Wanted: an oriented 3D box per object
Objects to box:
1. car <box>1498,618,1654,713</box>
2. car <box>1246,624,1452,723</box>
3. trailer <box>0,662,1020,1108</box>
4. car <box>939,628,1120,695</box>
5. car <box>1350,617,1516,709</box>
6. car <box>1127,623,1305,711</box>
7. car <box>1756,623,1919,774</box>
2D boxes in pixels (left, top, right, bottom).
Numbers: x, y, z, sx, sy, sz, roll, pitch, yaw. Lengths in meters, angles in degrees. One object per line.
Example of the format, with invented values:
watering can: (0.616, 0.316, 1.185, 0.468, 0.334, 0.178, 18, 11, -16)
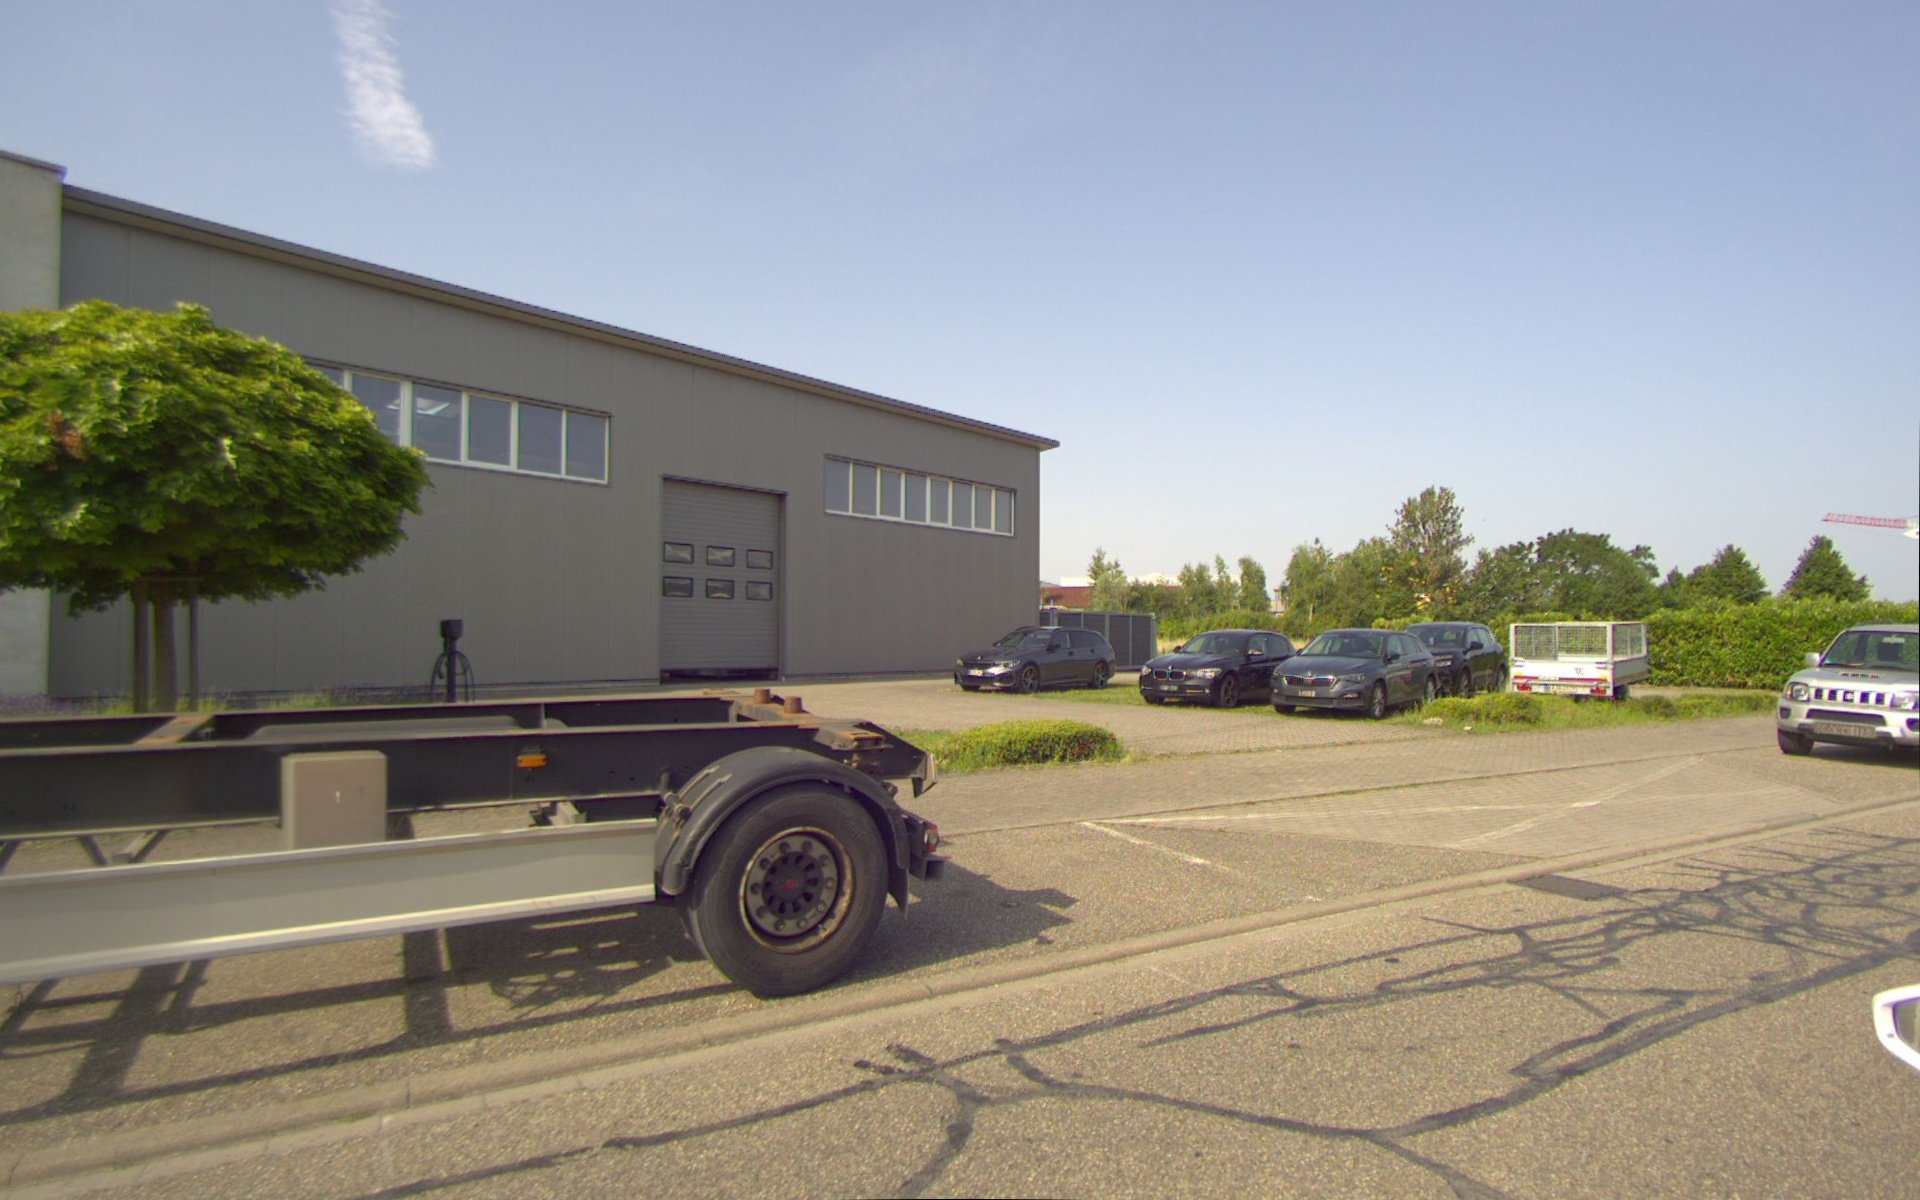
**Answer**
car: (11.932, 1.193, 19.352, 1.813, 1.592, 3.795, 2, -1, 43)
car: (6.988, 1.209, 17.784, 1.954, 1.496, 4.398, 0, -2, 42)
trailer: (-4.496, 0.867, 3.277, 9.617, 1.088, 2.534, 1, 0, -30)
car: (1.685, 1.349, 22.945, 1.966, 1.342, 4.330, 0, -2, 40)
car: (10.198, 1.281, 21.499, 1.967, 1.680, 4.398, 2, 0, 42)
car: (5.090, 1.233, 19.581, 1.659, 1.496, 4.330, 0, -2, 40)
car: (11.841, 1.151, 12.705, 3.601, 1.672, 1.590, 1, -2, -30)
